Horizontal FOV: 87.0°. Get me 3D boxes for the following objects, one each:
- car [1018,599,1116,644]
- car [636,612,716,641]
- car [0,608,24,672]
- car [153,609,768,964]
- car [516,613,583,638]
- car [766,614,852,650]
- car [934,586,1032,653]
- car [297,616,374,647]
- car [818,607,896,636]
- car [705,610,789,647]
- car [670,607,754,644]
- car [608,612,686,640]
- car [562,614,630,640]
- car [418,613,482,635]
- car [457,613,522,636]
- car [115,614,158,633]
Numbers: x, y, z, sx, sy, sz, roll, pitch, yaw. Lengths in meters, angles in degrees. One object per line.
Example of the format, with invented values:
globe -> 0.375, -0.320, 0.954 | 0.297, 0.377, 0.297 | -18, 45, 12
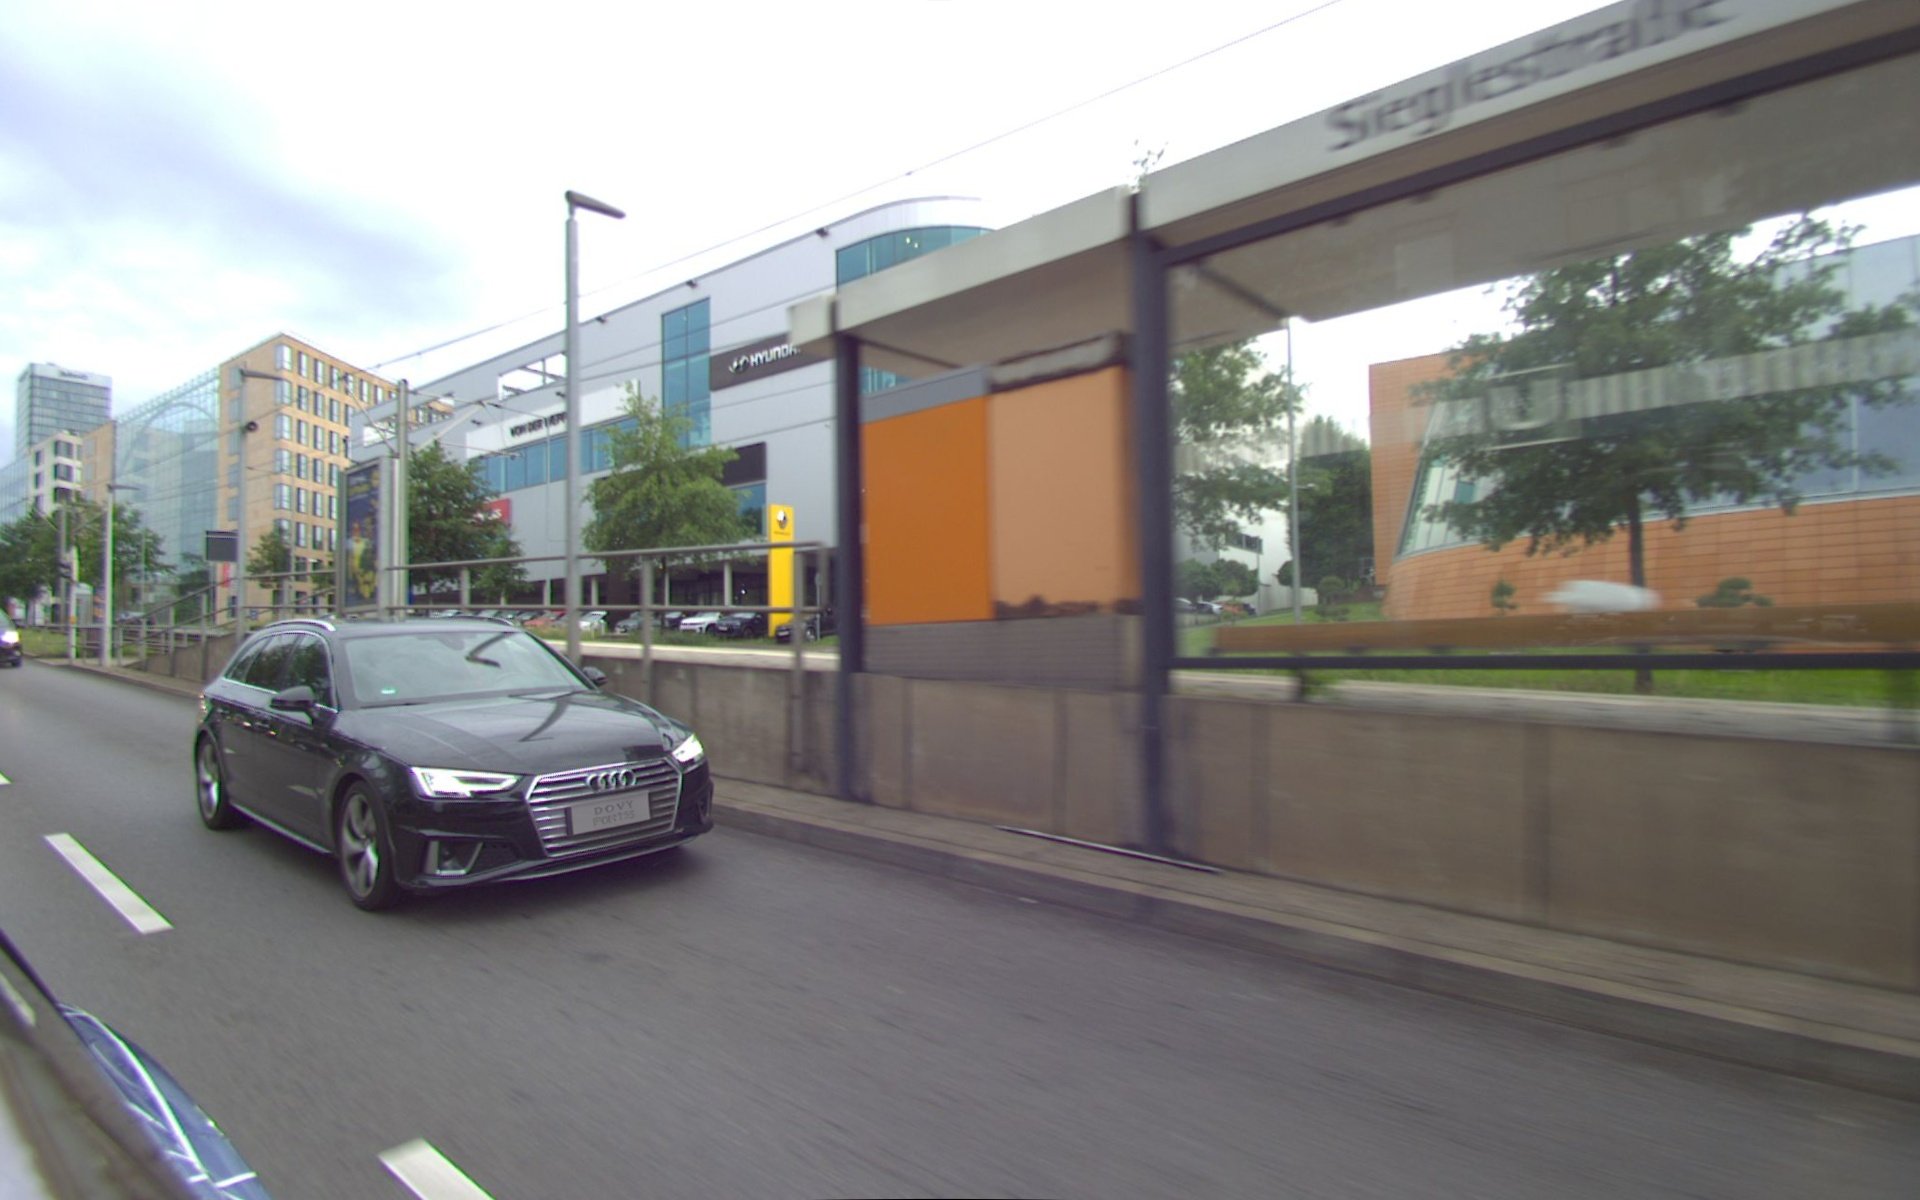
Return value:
car -> 5.093, 0.935, 47.373 | 2.273, 1.940, 5.420 | 0, 0, 34
car -> -15.313, 1.406, 54.649 | 1.819, 1.502, 3.954 | -1, -1, 34
car -> -24.447, 0.963, 24.841 | 3.998, 1.513, 1.775 | -1, -1, 42
car -> -3.435, 0.801, 6.400 | 4.826, 1.445, 1.771 | -1, -1, 41
car -> -25.781, 1.604, 63.720 | 1.812, 1.502, 3.814 | -1, -1, 22
car -> -7.034, 1.484, 47.556 | 1.891, 1.519, 3.956 | 0, 0, 32
car -> 1.068, 0.747, 42.486 | 2.265, 2.648, 5.442 | 0, 0, 23
car -> -31.826, 1.579, 51.545 | 4.871, 1.399, 1.973 | 0, 0, 41
car -> -5.427, 1.140, 53.804 | 3.946, 1.480, 1.770 | 0, -1, 2
car -> -10.730, 1.400, 51.204 | 1.917, 1.674, 3.954 | -1, 1, 34
car -> -12.923, 1.297, 52.918 | 1.917, 1.674, 3.955 | -1, 1, 34
car -> -17.557, 1.415, 56.903 | 1.819, 1.502, 3.954 | -1, -1, 34
car -> -21.767, 1.599, 60.644 | 1.812, 1.502, 3.814 | -1, -1, 22
car -> -36.379, 1.668, 72.268 | 1.812, 1.502, 3.814 | -1, -1, 22
car -> -32.038, 1.652, 68.983 | 1.812, 1.502, 3.814 | -1, -1, 22
car -> -68.239, 1.930, 83.831 | 4.871, 1.447, 1.973 | 0, 0, 41
